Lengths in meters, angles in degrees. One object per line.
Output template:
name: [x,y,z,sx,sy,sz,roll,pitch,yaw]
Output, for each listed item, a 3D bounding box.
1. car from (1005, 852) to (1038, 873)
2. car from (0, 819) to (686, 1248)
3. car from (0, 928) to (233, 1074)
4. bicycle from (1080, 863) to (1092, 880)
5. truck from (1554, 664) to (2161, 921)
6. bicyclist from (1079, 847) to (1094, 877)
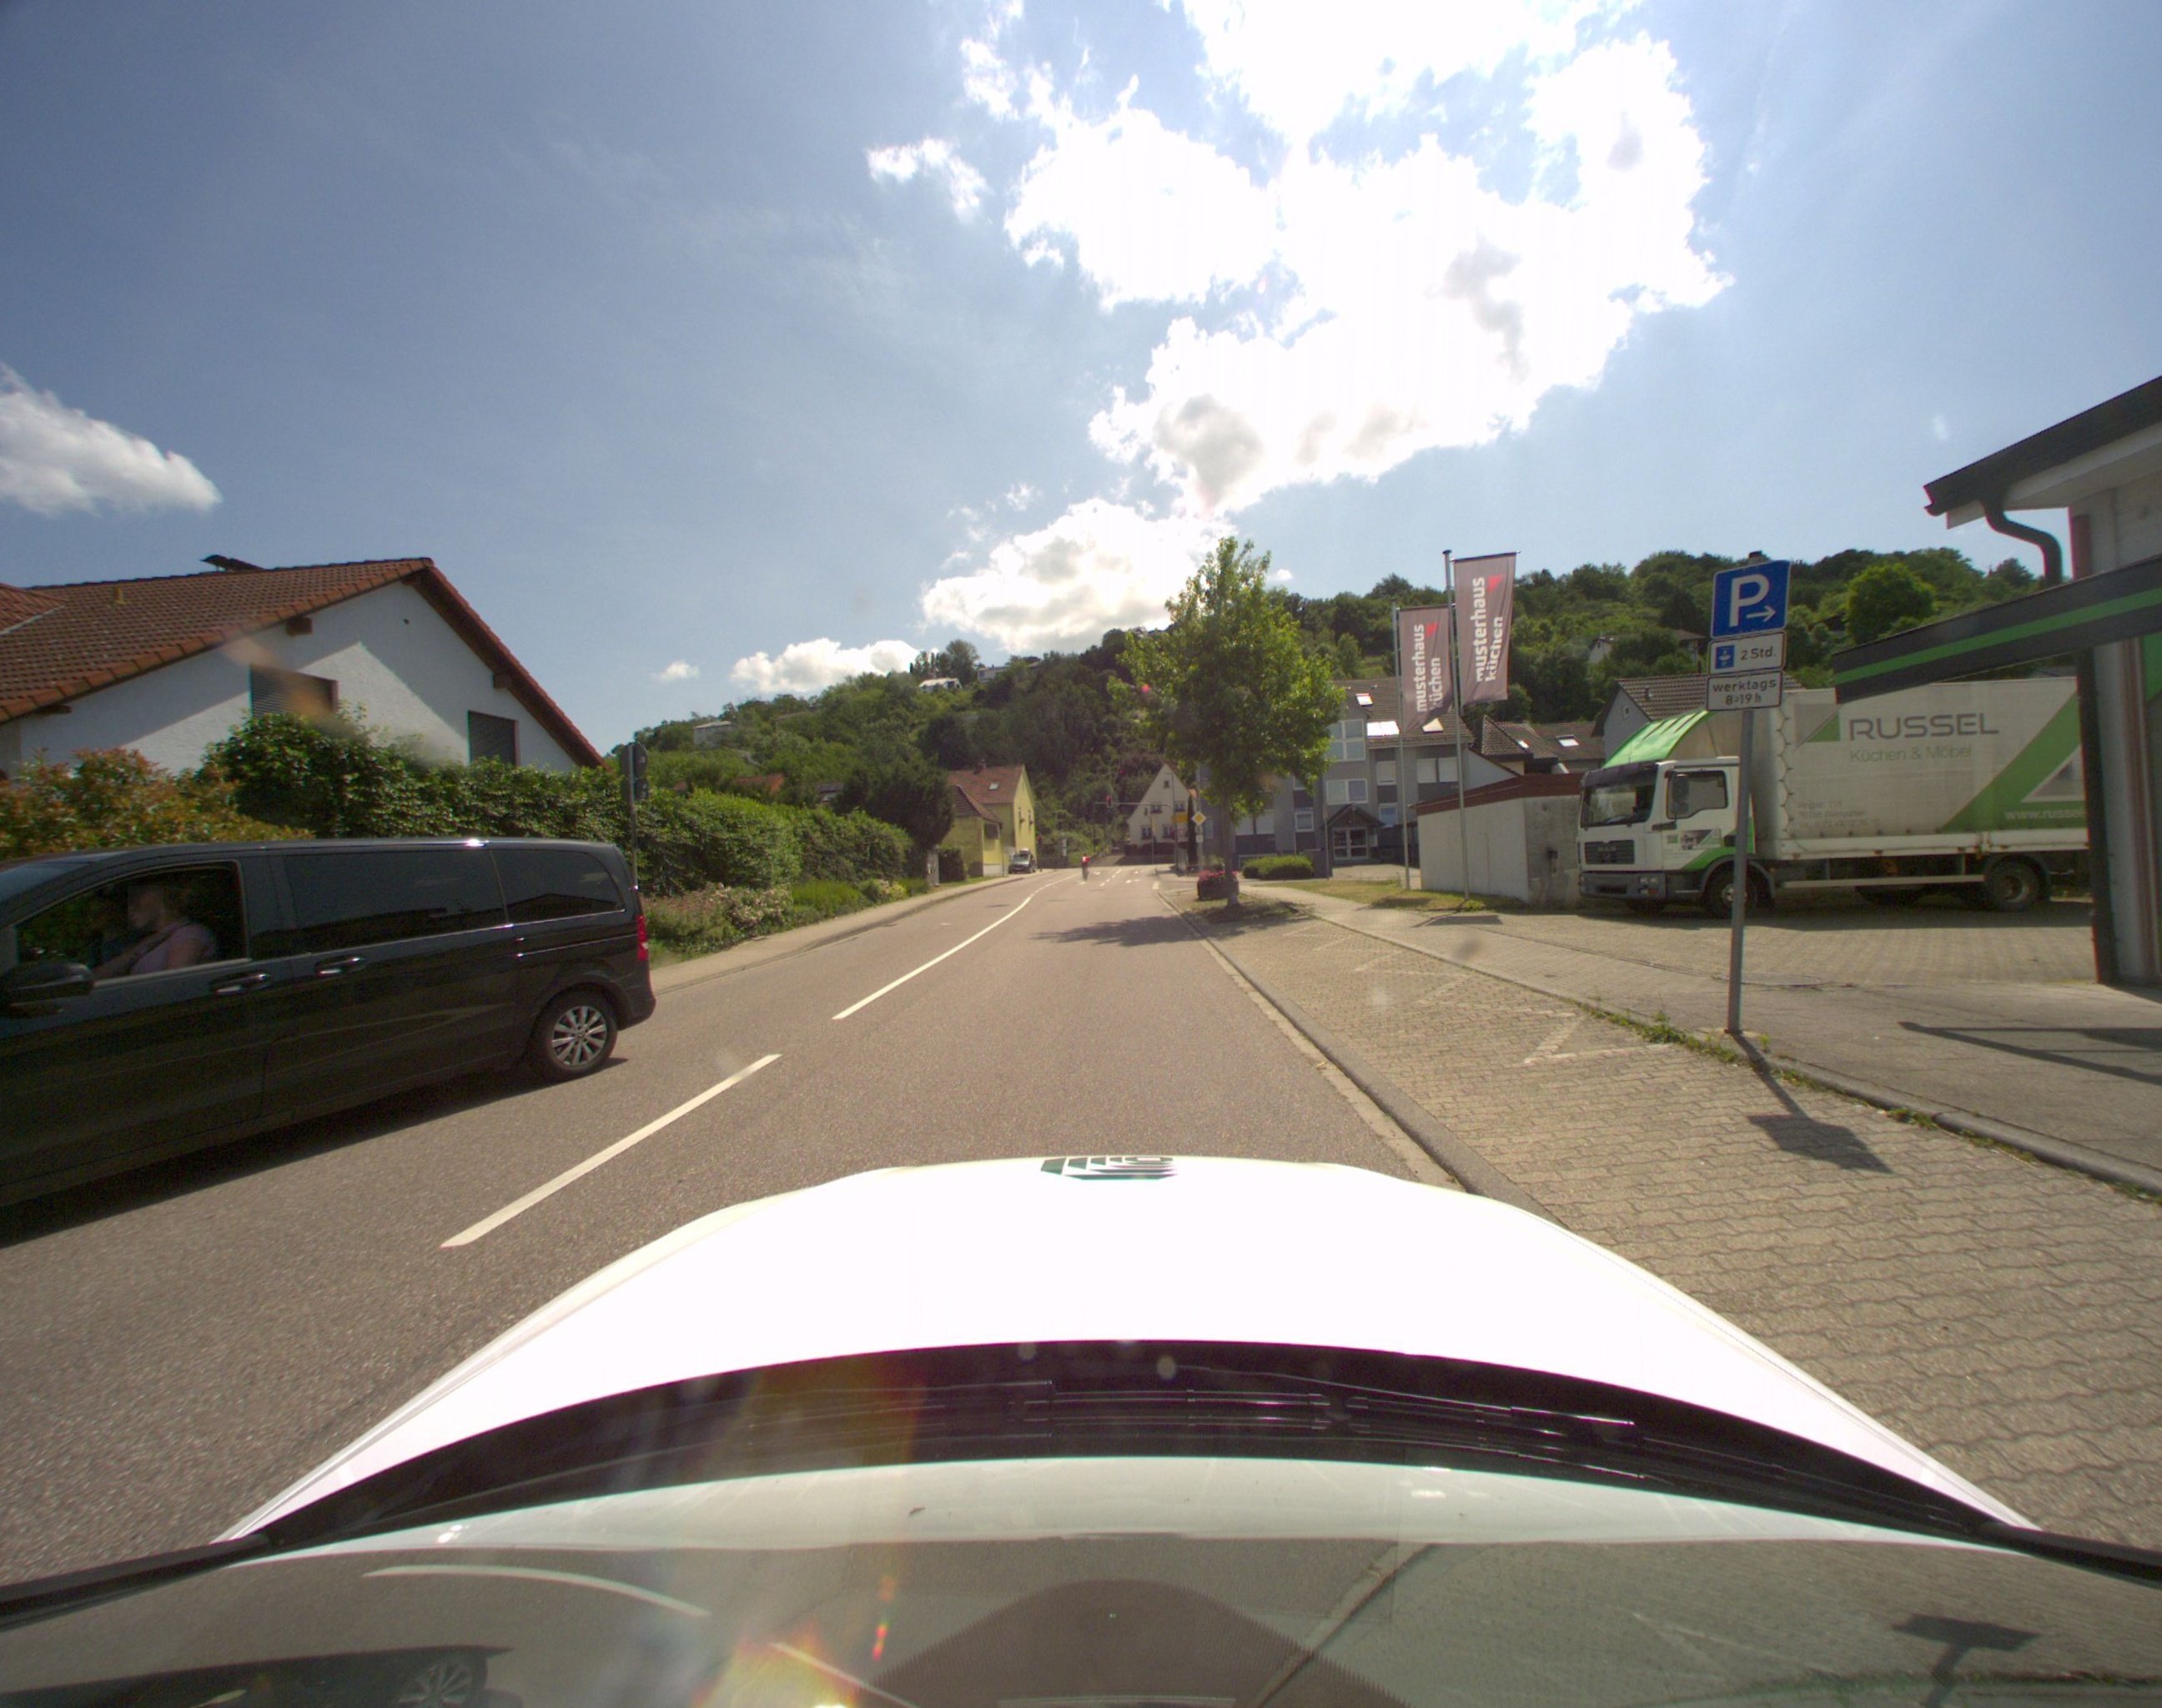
car: [-4.842,0.647,66.758,1.984,1.635,4.636,-1,0,5]
car: [-5.245,0.818,4.900,1.976,1.852,5.096,-4,0,21]
car: [-11.797,1.657,8.384,1.653,1.285,4.006,-5,0,5]
bicycle: [0.272,0.976,45.009,0.627,0.905,1.657,-1,0,1]
truck: [12.774,-0.900,13.510,8.139,3.573,2.679,-2,-1,1]
bicyclist: [0.290,0.434,44.934,0.758,1.664,0.869,-1,0,1]
